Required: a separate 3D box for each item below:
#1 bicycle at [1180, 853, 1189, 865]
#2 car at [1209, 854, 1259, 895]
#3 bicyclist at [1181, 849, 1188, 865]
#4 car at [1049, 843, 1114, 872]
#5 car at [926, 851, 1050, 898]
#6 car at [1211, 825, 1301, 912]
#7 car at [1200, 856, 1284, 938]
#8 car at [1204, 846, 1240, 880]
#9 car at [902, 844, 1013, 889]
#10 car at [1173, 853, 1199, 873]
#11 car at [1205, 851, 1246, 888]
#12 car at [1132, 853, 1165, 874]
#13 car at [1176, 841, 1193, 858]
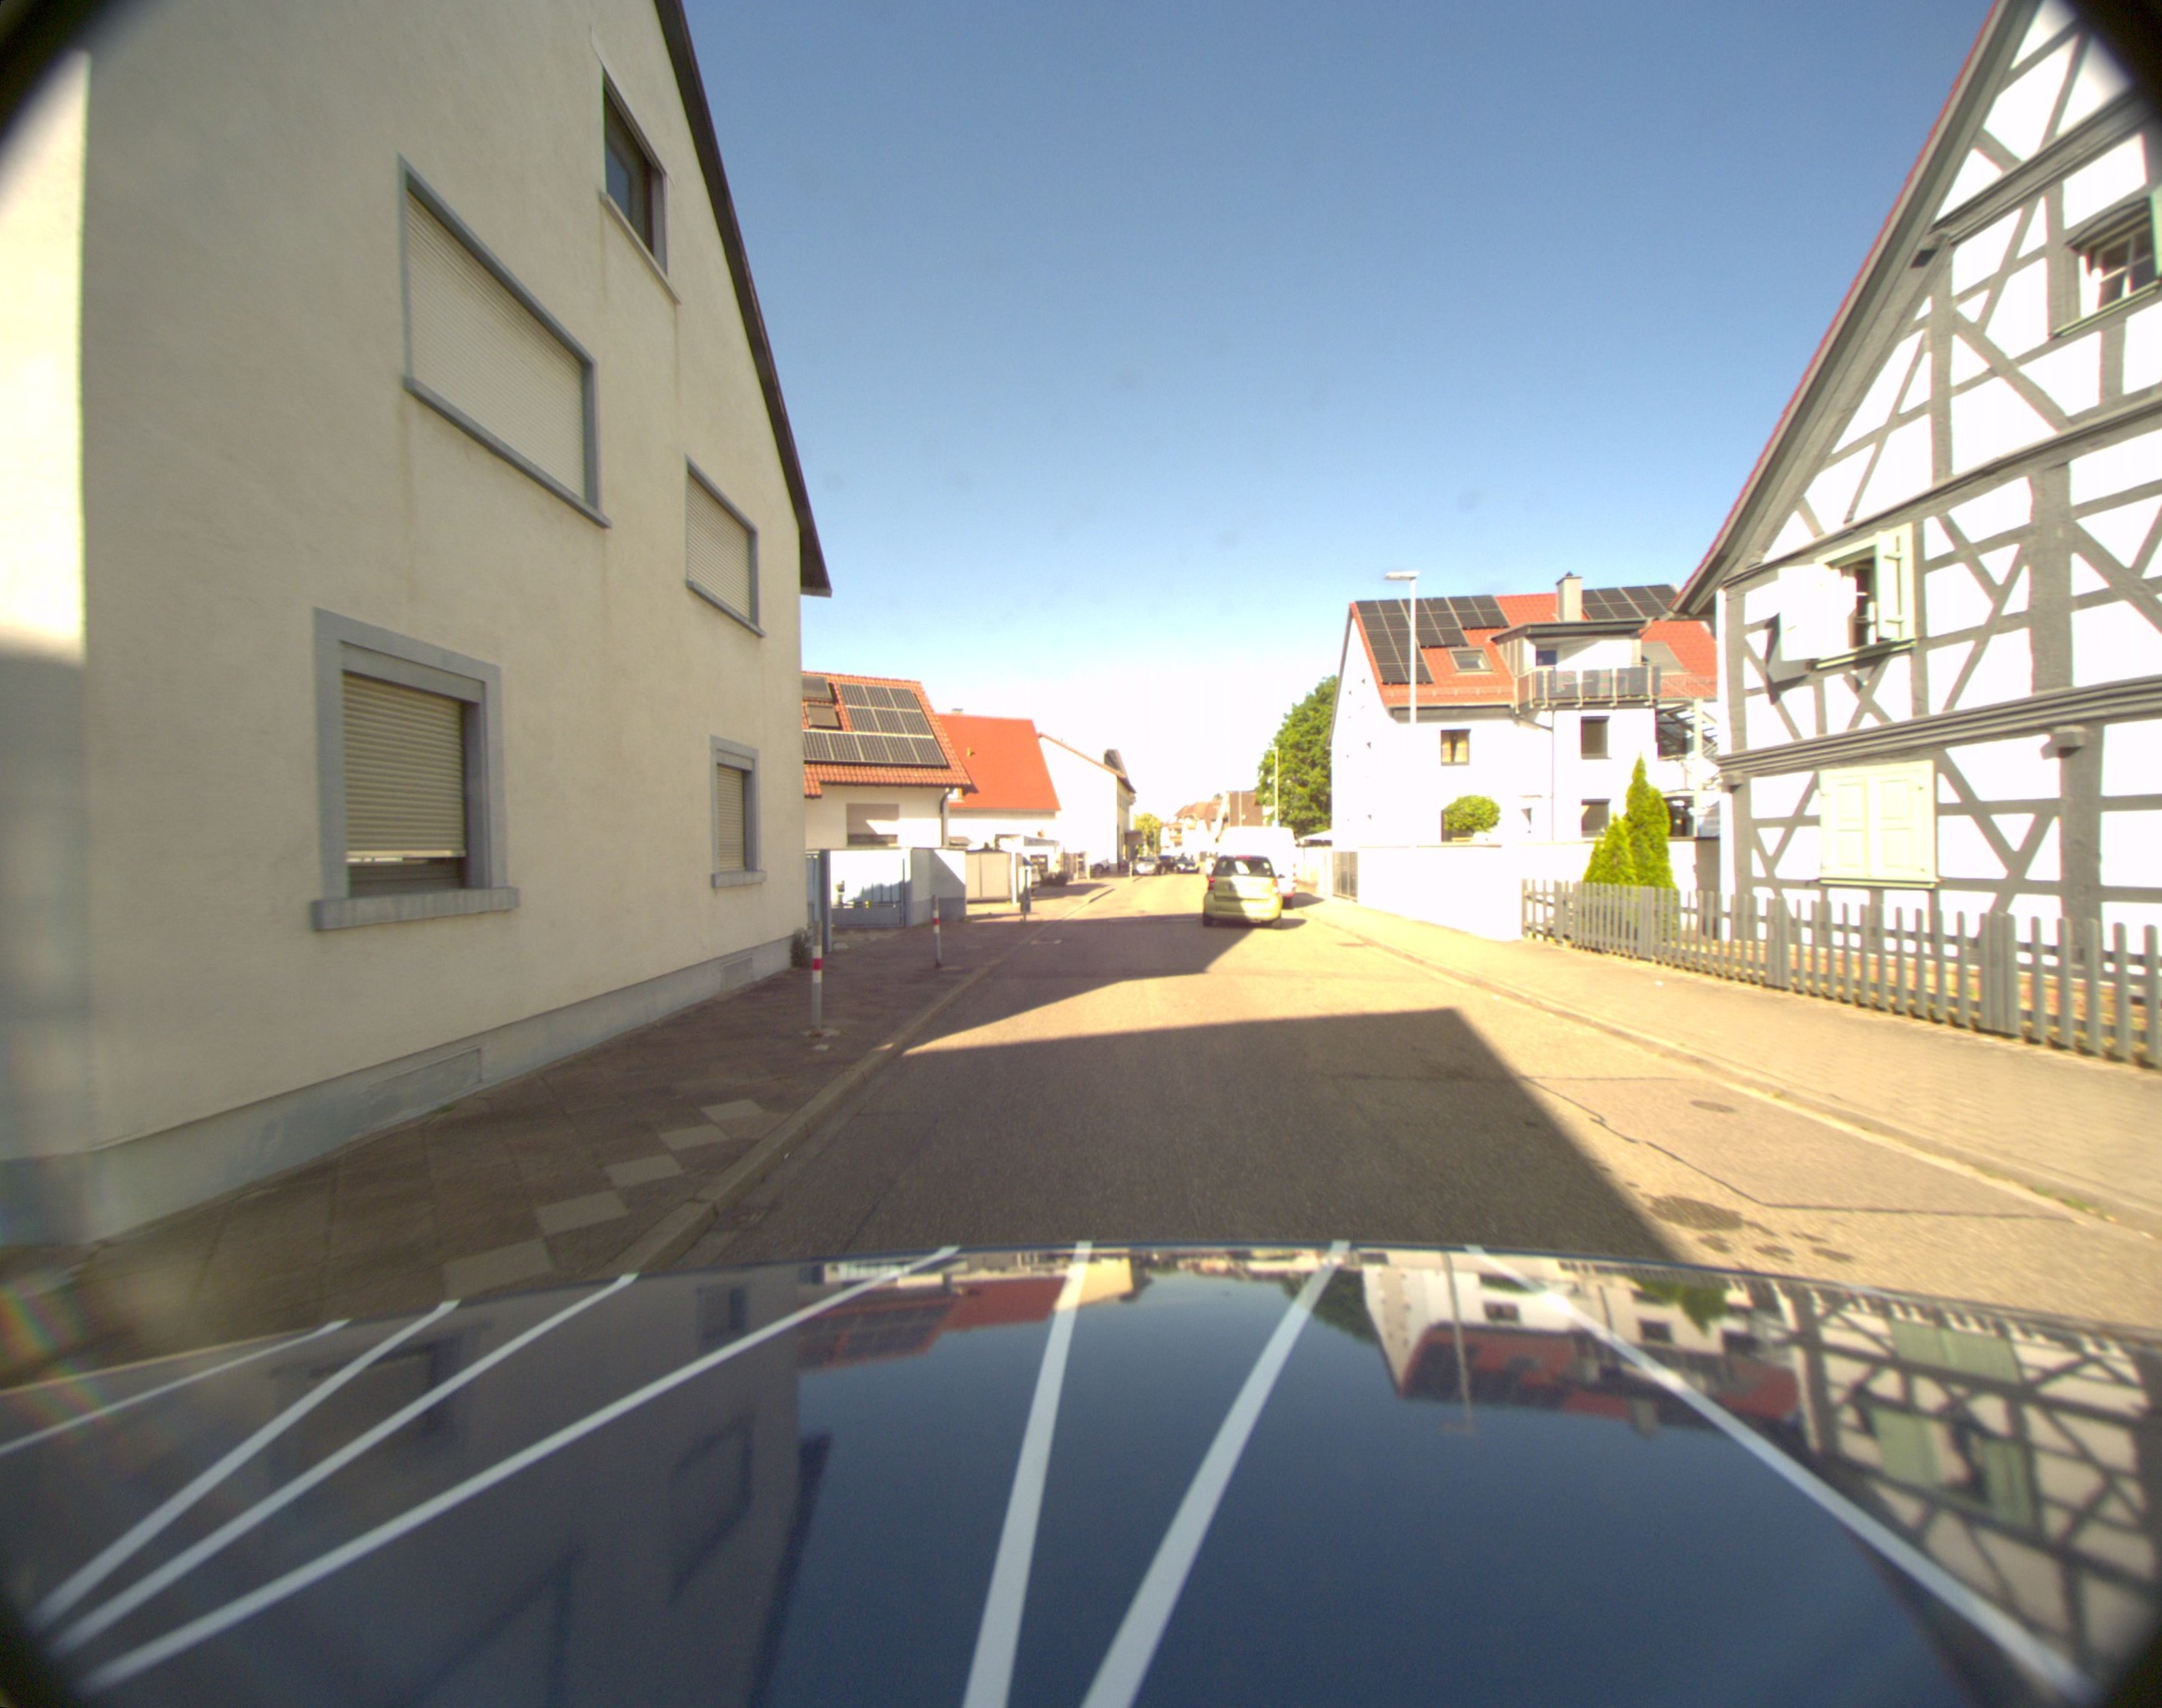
[{"bbox_3d":[11.038,0.502,81.054,0.639,1.175,2.022,-6,0,5],"label":"bicycle"},{"bbox_3d":[6.069,0.771,30.525,1.715,1.495,4.238,1,0,8],"label":"car"},{"bbox_3d":[11.076,0.288,81.154,0.643,1.655,0.605,1,1,5],"label":"bicyclist"},{"bbox_3d":[0.035,0.266,57.365,4.775,1.875,1.908,3,0,-1],"label":"car"},{"bbox_3d":[-3.249,0.691,26.814,3.917,1.483,1.849,1,1,17],"label":"car"},{"bbox_3d":[5.303,0.376,23.815,2.201,2.376,6.068,1,0,8],"label":"car"},{"bbox_3d":[3.531,0.843,16.459,1.576,1.537,2.969,2,0,14],"label":"car"},{"bbox_3d":[8.423,0.490,45.819,1.906,1.906,5.073,1,0,8],"label":"car"},{"bbox_3d":[-4.903,0.510,30.128,4.053,1.678,1.908,1,0,-19],"label":"car"},{"bbox_3d":[7.979,0.648,57.989,1.812,1.466,4.847,-1,0,7],"label":"car"},{"bbox_3d":[6.636,0.675,35.204,1.718,1.589,3.927,1,0,8],"label":"car"},{"bbox_3d":[4.989,0.656,55.390,1.814,1.466,4.664,1,0,12],"label":"car"},{"bbox_3d":[16.083,-0.710,118.506,2.257,2.456,5.517,1,0,4],"label":"car"}]
